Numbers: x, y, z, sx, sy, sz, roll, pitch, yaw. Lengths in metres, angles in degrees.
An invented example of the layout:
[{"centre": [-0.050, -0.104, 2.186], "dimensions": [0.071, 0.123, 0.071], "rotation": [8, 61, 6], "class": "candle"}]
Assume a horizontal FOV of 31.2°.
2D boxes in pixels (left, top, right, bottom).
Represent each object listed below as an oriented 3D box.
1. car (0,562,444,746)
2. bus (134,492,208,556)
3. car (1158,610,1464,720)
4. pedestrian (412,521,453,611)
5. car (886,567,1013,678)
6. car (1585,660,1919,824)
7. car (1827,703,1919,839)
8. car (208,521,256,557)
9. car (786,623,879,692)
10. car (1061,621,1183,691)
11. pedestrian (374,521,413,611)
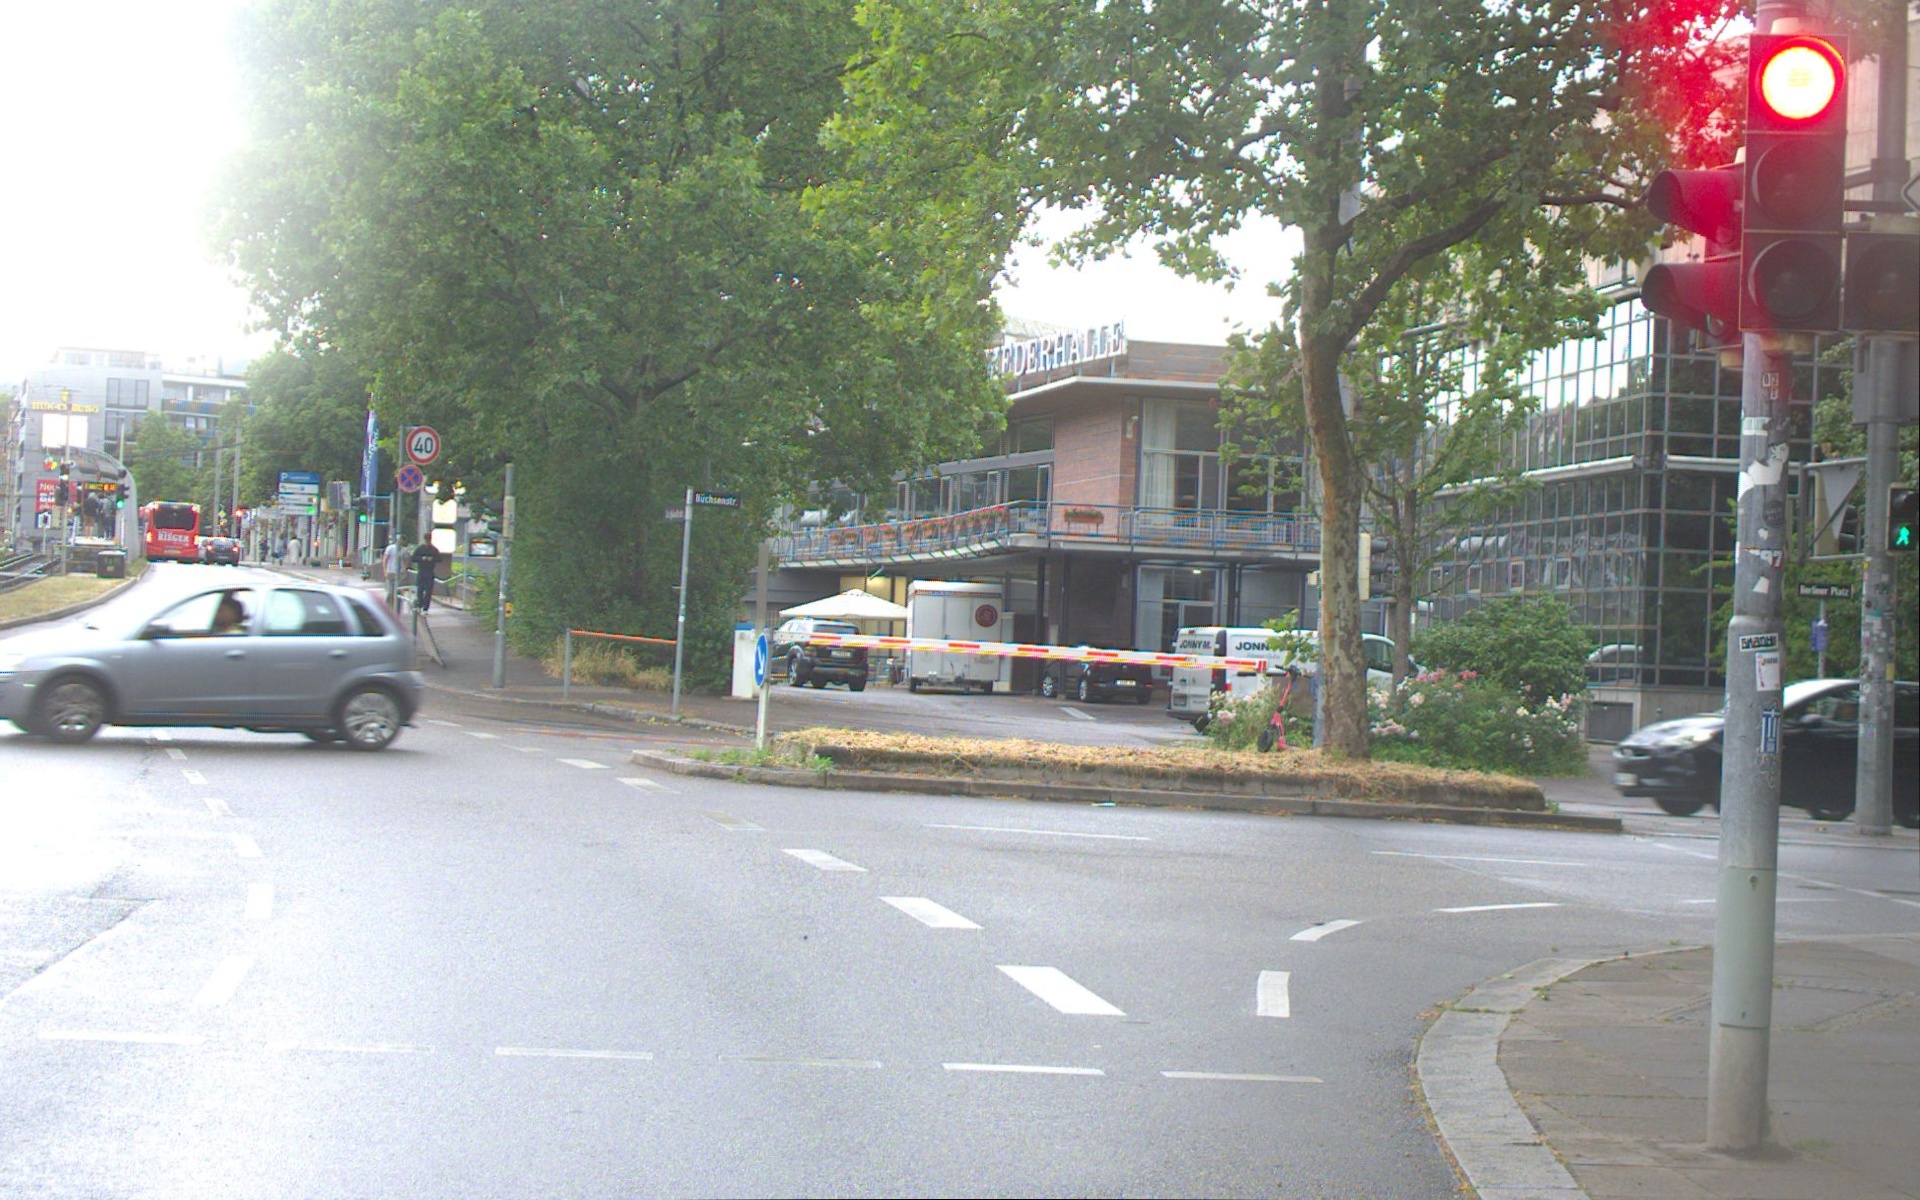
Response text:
[{"centre": [-6.485, 0.447, 28.999], "dimensions": [3.858, 1.352, 1.633], "rotation": [3, 1, -24], "class": "car"}, {"centre": [-40.503, -3.858, 176.426], "dimensions": [3.589, 3.160, 10.423], "rotation": [1, 1, -13], "class": "bus"}, {"centre": [6.361, 1.177, 62.219], "dimensions": [5.198, 1.725, 1.875], "rotation": [3, 1, -25], "class": "car"}, {"centre": [-11.914, -0.760, 77.612], "dimensions": [0.874, 2.007, 1.077], "rotation": [1, 0, -8], "class": "pedestrian"}, {"centre": [-0.346, 0.543, 91.422], "dimensions": [2.731, 2.686, 6.923], "rotation": [3, 1, -5], "class": "car"}, {"centre": [8.162, 1.378, 33.242], "dimensions": [3.858, 1.352, 1.633], "rotation": [3, 1, -1], "class": "car"}, {"centre": [12.969, 2.065, 41.636], "dimensions": [4.335, 1.514, 2.000], "rotation": [1, 1, -6], "class": "car"}, {"centre": [-38.412, -3.204, 181.409], "dimensions": [2.362, 1.810, 5.185], "rotation": [1, 1, -13], "class": "car"}, {"centre": [-3.242, 1.456, 87.962], "dimensions": [2.019, 1.546, 4.350], "rotation": [3, 1, 2], "class": "car"}, {"centre": [4.166, 1.435, 89.216], "dimensions": [2.019, 1.546, 4.351], "rotation": [3, 1, -13], "class": "car"}, {"centre": [-12.742, -0.760, 77.368], "dimensions": [0.814, 2.007, 1.077], "rotation": [1, 0, -8], "class": "pedestrian"}]
